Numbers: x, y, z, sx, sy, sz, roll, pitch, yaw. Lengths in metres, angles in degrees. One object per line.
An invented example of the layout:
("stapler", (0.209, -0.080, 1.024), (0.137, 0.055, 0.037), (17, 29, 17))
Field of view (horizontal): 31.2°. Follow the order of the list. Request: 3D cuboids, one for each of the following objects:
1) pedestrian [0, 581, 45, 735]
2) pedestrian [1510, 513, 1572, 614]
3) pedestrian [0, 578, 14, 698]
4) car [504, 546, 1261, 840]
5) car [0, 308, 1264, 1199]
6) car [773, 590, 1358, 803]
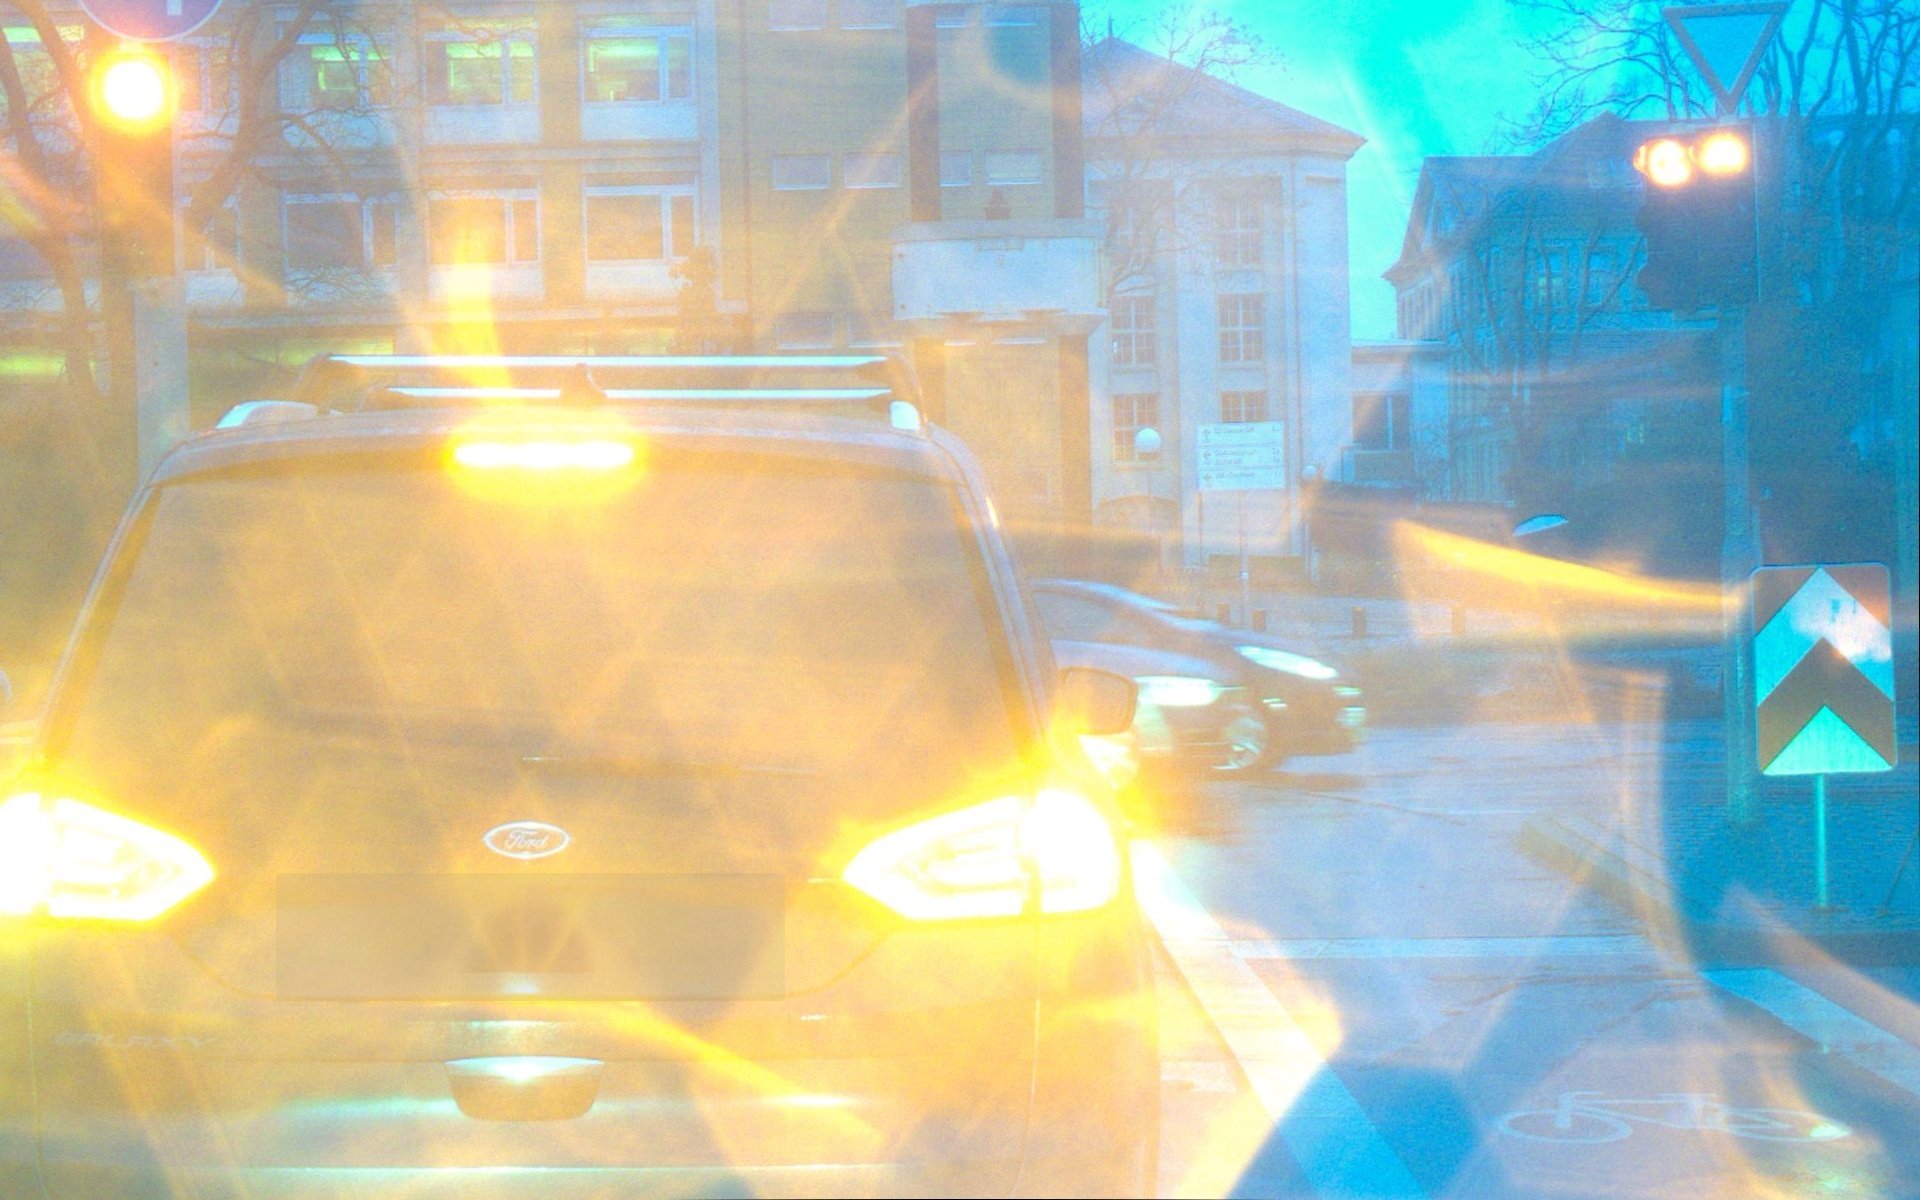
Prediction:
("pedestrian", (-12.220, 0.731, 42.820), (1.002, 1.836, 1.138), (-2, 3, 23))
("pedestrian", (9.538, -0.607, 56.463), (0.720, 1.622, 0.761), (-1, 1, 32))
("pedestrian", (-13.865, 0.545, 48.617), (0.639, 1.682, 0.636), (-2, 1, 16))
("car", (-0.409, 0.536, 20.364), (4.126, 1.577, 1.840), (-2, 0, 12))
("car", (-0.628, 0.494, 6.564), (1.993, 1.783, 4.000), (1, 1, -1))
("car", (0.762, 0.636, 23.333), (3.756, 1.297, 1.701), (-2, 0, 9))
